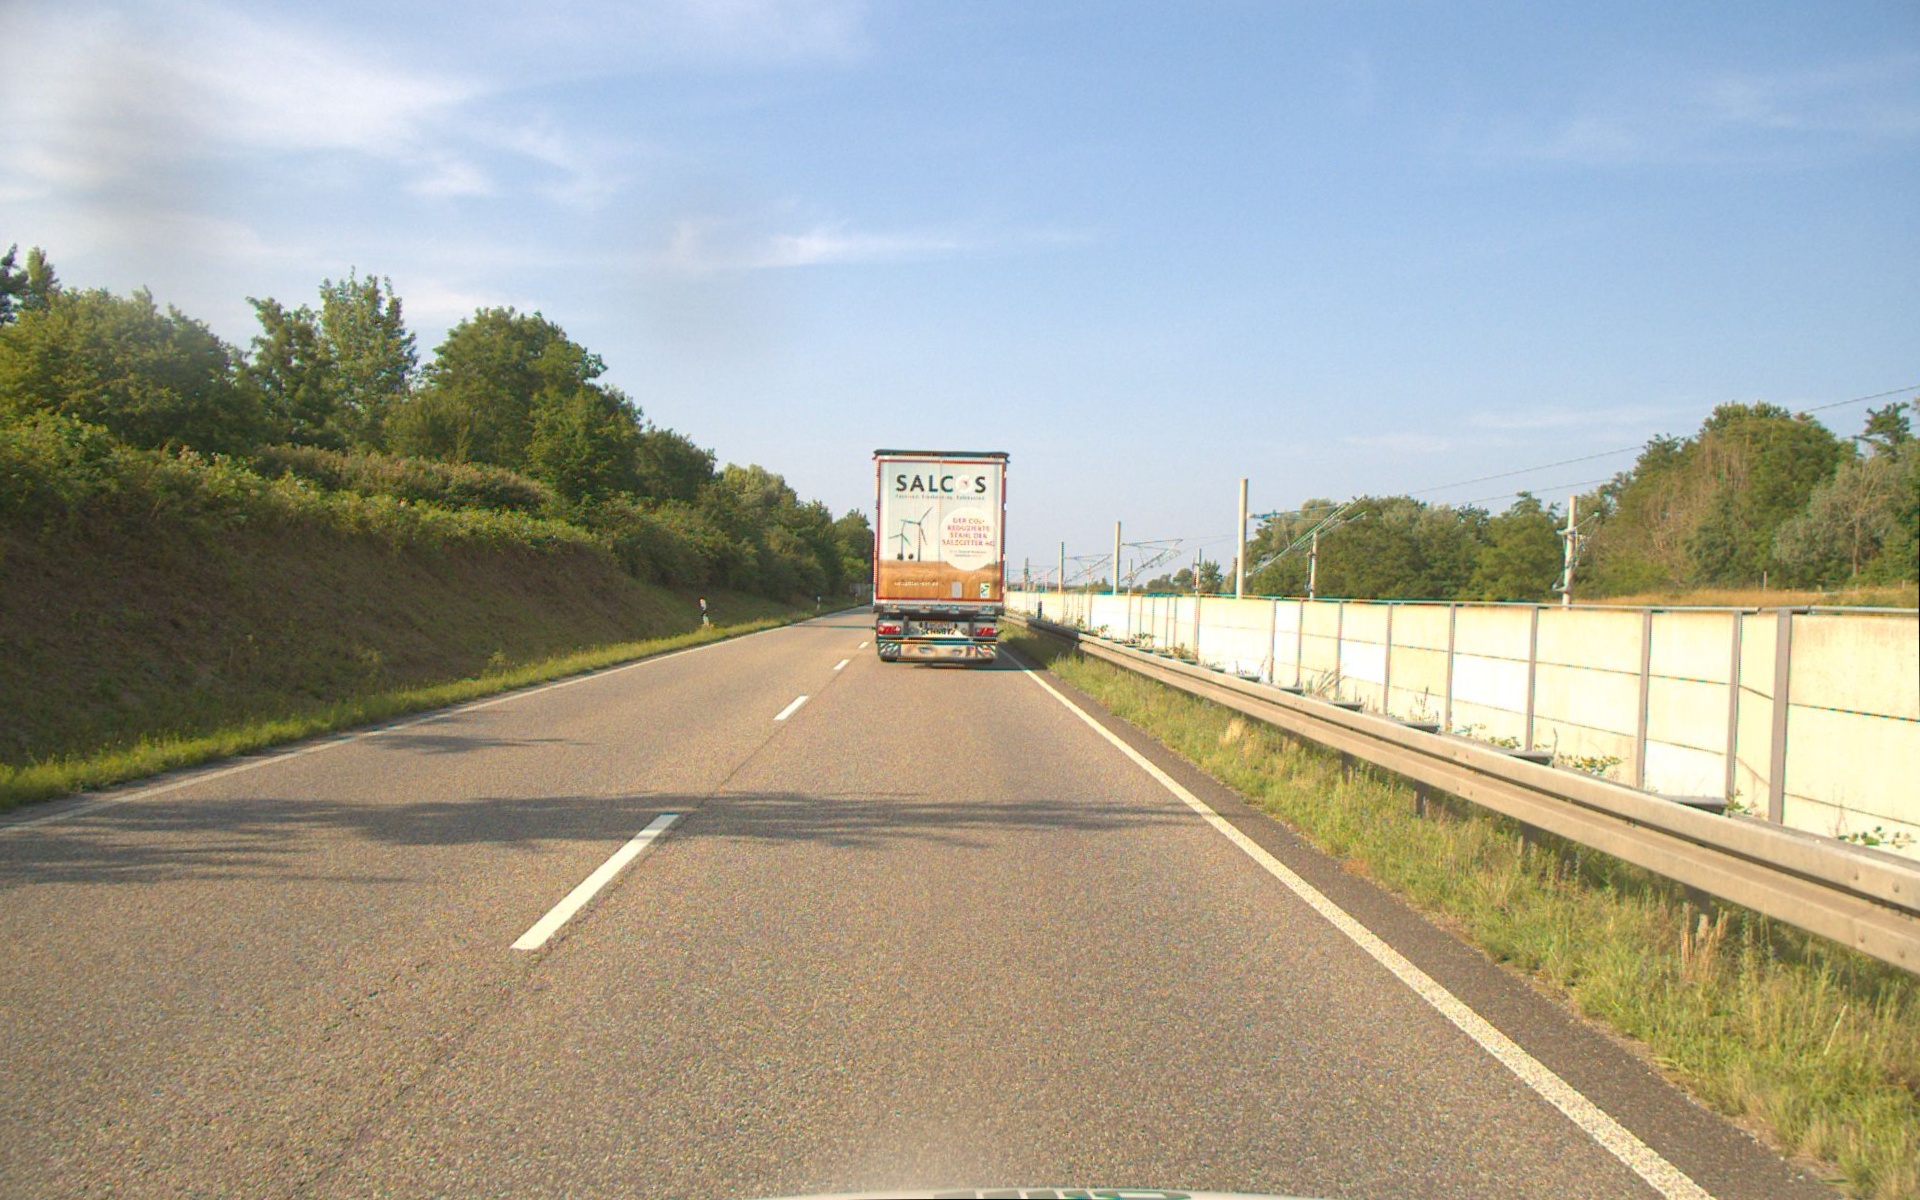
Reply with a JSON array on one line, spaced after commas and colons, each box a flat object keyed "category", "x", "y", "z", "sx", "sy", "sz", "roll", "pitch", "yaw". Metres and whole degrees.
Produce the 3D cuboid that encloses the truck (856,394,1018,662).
[{"category": "truck", "x": -0.665, "y": -1.406, "z": 37.112, "sx": 2.972, "sy": 5.006, "sz": 11.679, "roll": 1, "pitch": 0, "yaw": -2}]
